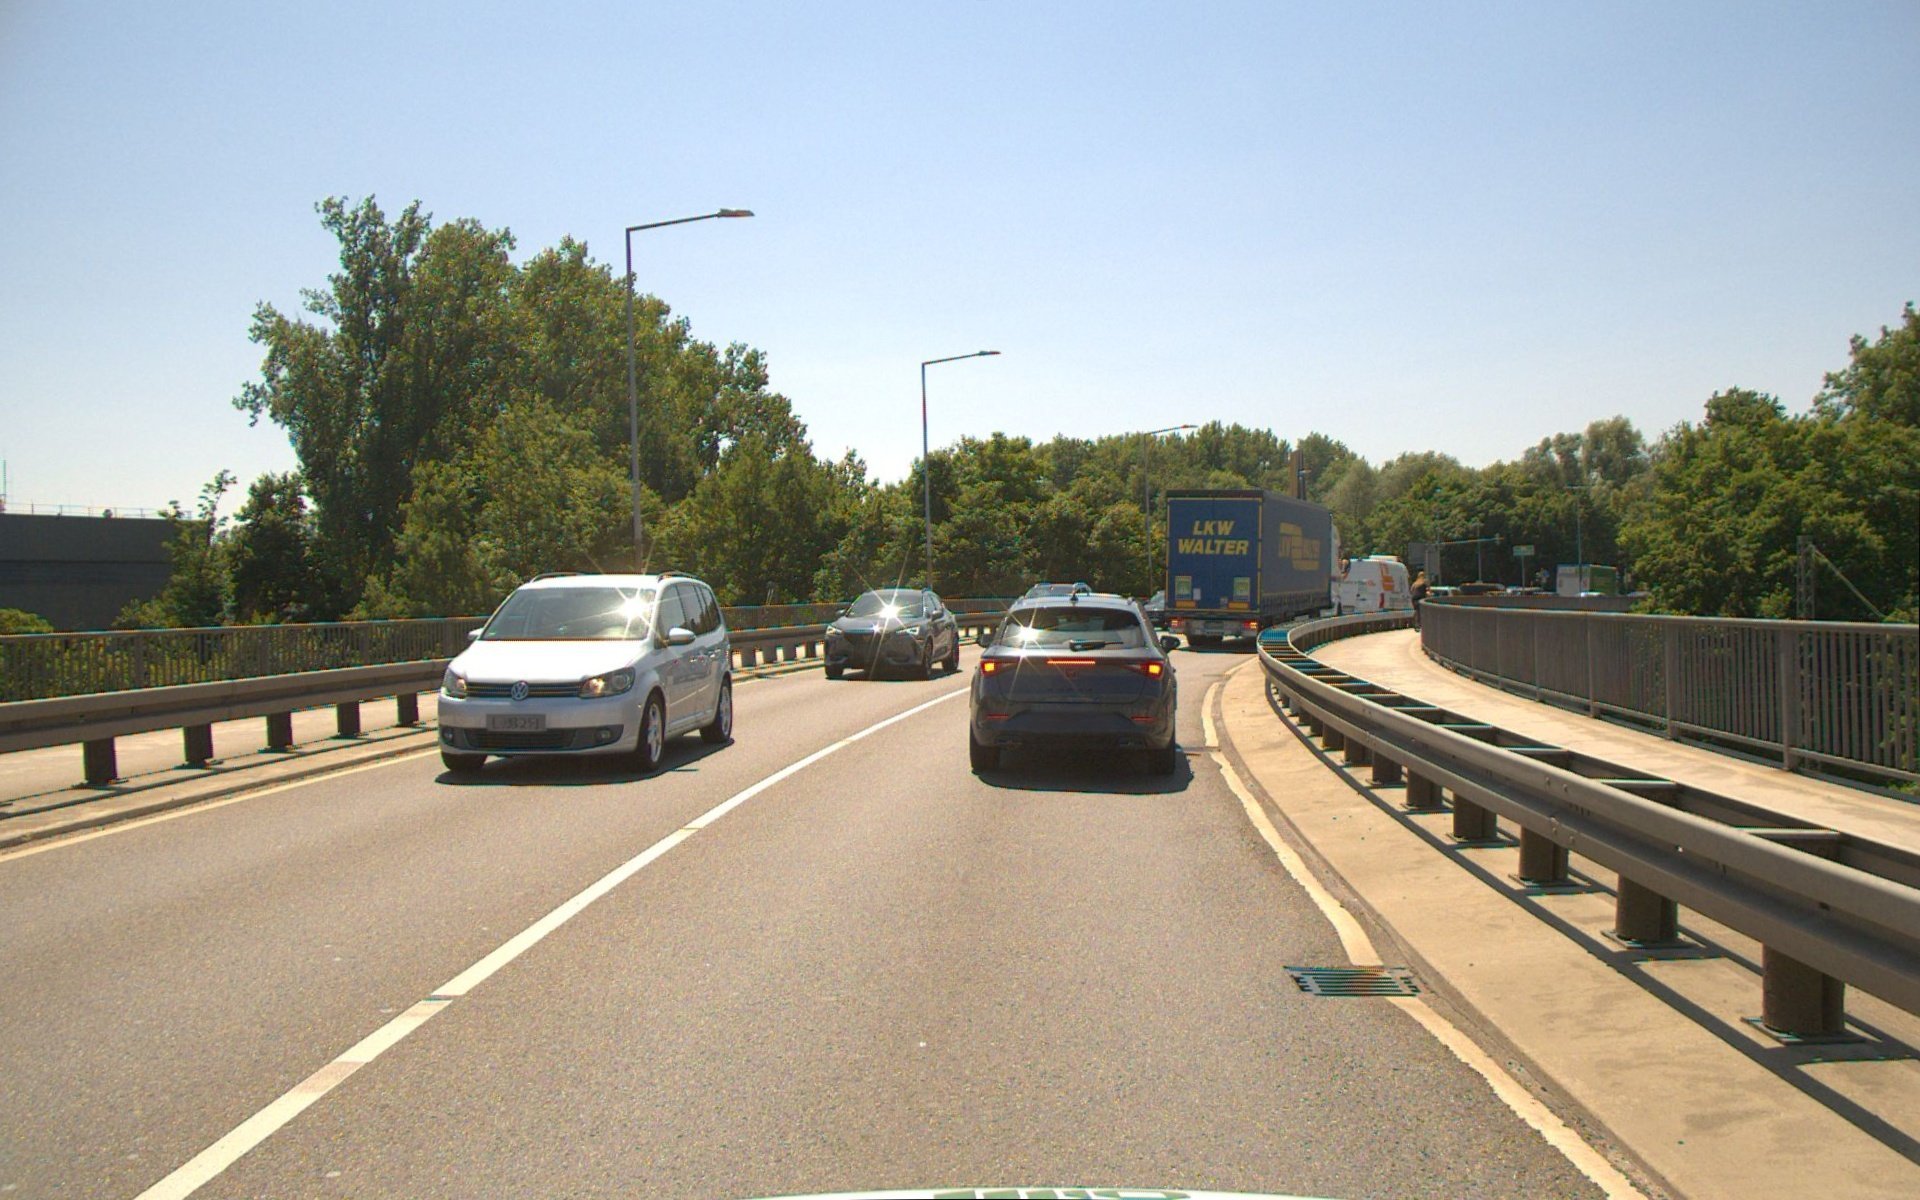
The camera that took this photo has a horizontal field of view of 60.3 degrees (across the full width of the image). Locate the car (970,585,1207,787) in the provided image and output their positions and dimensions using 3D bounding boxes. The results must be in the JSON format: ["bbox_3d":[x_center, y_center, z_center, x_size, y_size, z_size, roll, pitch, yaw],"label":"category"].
[{"bbox_3d":[1.047,0.641,14.569,1.807,1.525,3.759,0,1,2],"label":"car"}]

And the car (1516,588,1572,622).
[{"bbox_3d":[32.422,0.292,91.747,1.857,1.882,3.984,0,0,36],"label":"car"}]

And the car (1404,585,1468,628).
[{"bbox_3d":[21.595,0.295,74.934,1.853,1.882,3.992,0,0,30],"label":"car"}]

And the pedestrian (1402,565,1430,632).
[{"bbox_3d":[13.774,-0.056,49.931,0.722,2.002,0.734,0,-1,22],"label":"pedestrian"}]

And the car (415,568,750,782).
[{"bbox_3d":[-3.181,0.578,14.813,1.679,1.643,4.121,-1,0,6],"label":"car"}]

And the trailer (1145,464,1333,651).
[{"bbox_3d":[8.452,-1.059,48.215,3.069,4.695,12.950,1,0,20],"label":"trailer"}]

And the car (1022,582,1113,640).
[{"bbox_3d":[3.217,0.320,48.959,1.865,1.617,4.002,-1,0,16],"label":"car"}]

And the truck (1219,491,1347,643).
[{"bbox_3d":[10.832,-1.002,54.916,3.104,4.665,7.398,0,0,19],"label":"truck"}]

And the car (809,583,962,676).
[{"bbox_3d":[-1.230,0.491,29.354,1.846,1.523,4.319,-1,0,9],"label":"car"}]

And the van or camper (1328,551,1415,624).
[{"bbox_3d":[16.439,-0.507,65.858,2.160,2.758,5.920,0,1,26],"label":"van or camper"}]

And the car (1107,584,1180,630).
[{"bbox_3d":[6.507,0.251,58.419,1.667,1.536,3.581,-1,0,21],"label":"car"}]

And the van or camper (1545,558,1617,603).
[{"bbox_3d":[39.525,-1.214,105.166,2.451,2.331,4.927,7,1,43],"label":"van or camper"}]

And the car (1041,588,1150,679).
[{"bbox_3d":[2.457,0.563,29.346,1.559,1.486,3.548,1,0,10],"label":"car"}]
